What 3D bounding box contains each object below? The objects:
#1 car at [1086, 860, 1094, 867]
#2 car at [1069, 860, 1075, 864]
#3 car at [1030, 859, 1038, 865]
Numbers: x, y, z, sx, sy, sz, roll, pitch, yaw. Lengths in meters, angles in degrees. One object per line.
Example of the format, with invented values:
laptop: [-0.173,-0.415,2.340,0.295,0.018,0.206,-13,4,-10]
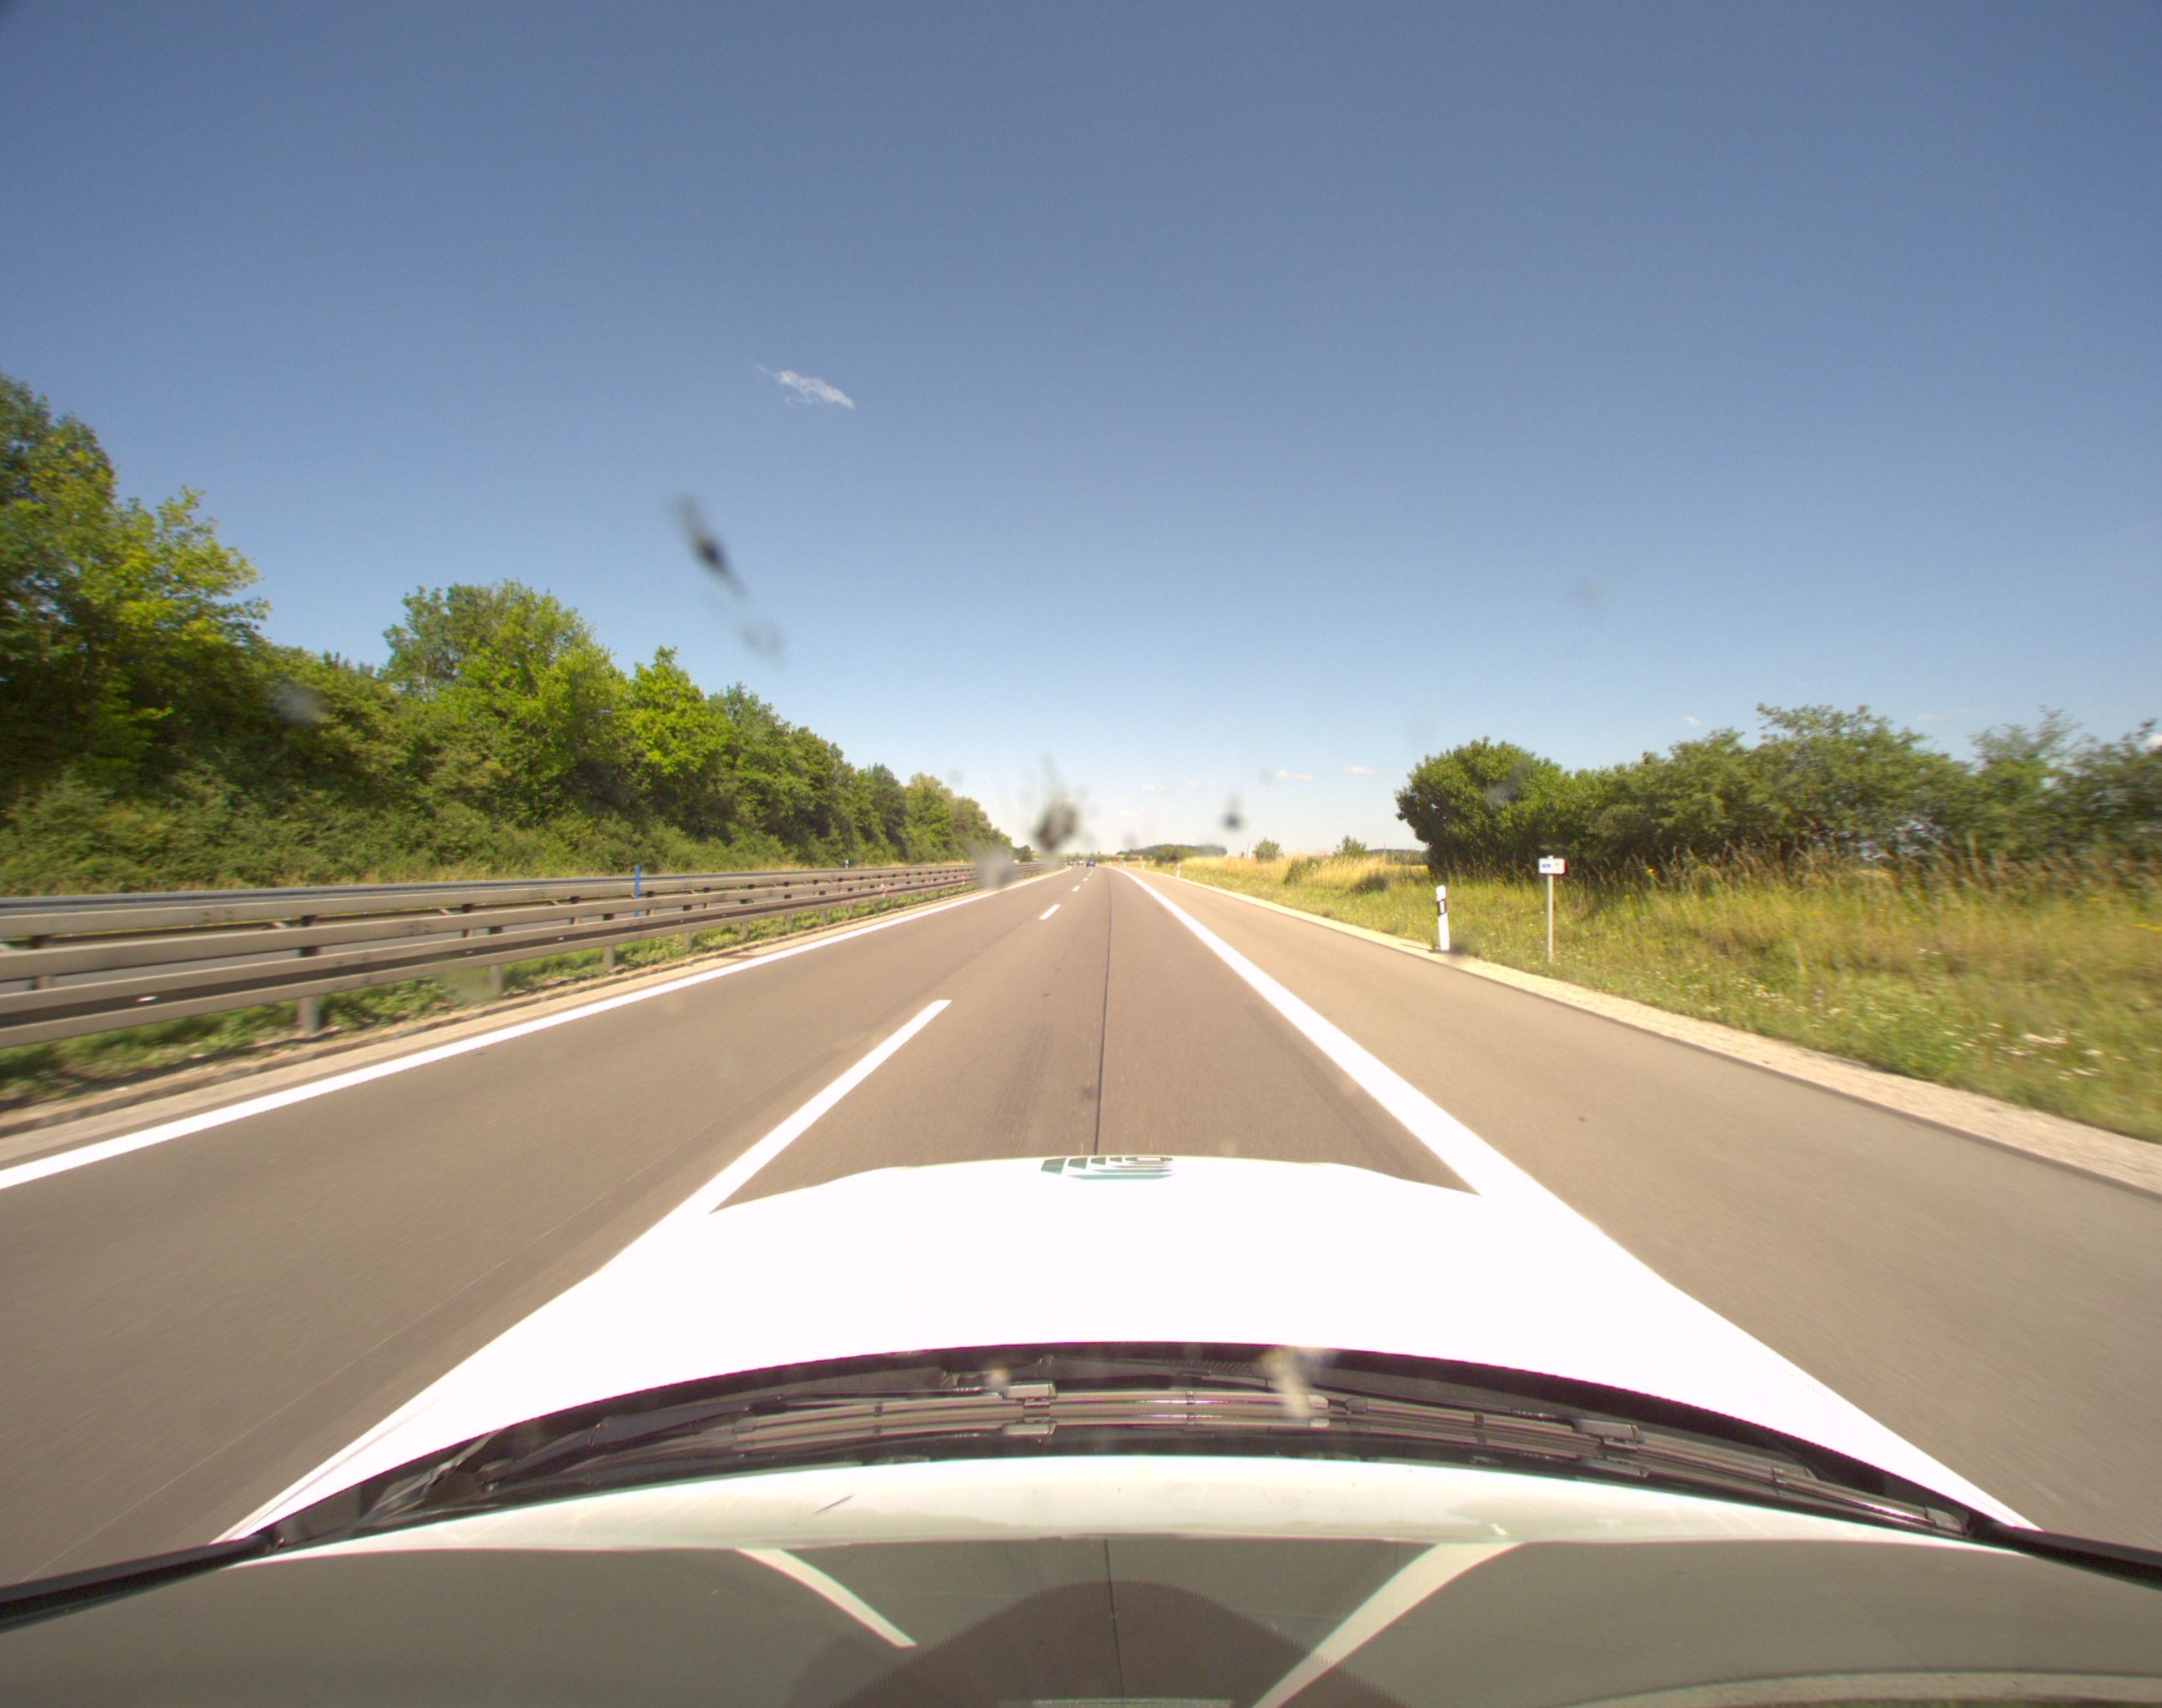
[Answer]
car: [1.913,2.071,177.140,1.669,1.453,3.593,-1,-1,2]
car: [-2.761,2.450,250.813,1.821,1.453,3.594,-1,-1,3]
car: [-13.215,2.238,229.155,1.986,1.612,4.637,0,0,1]
